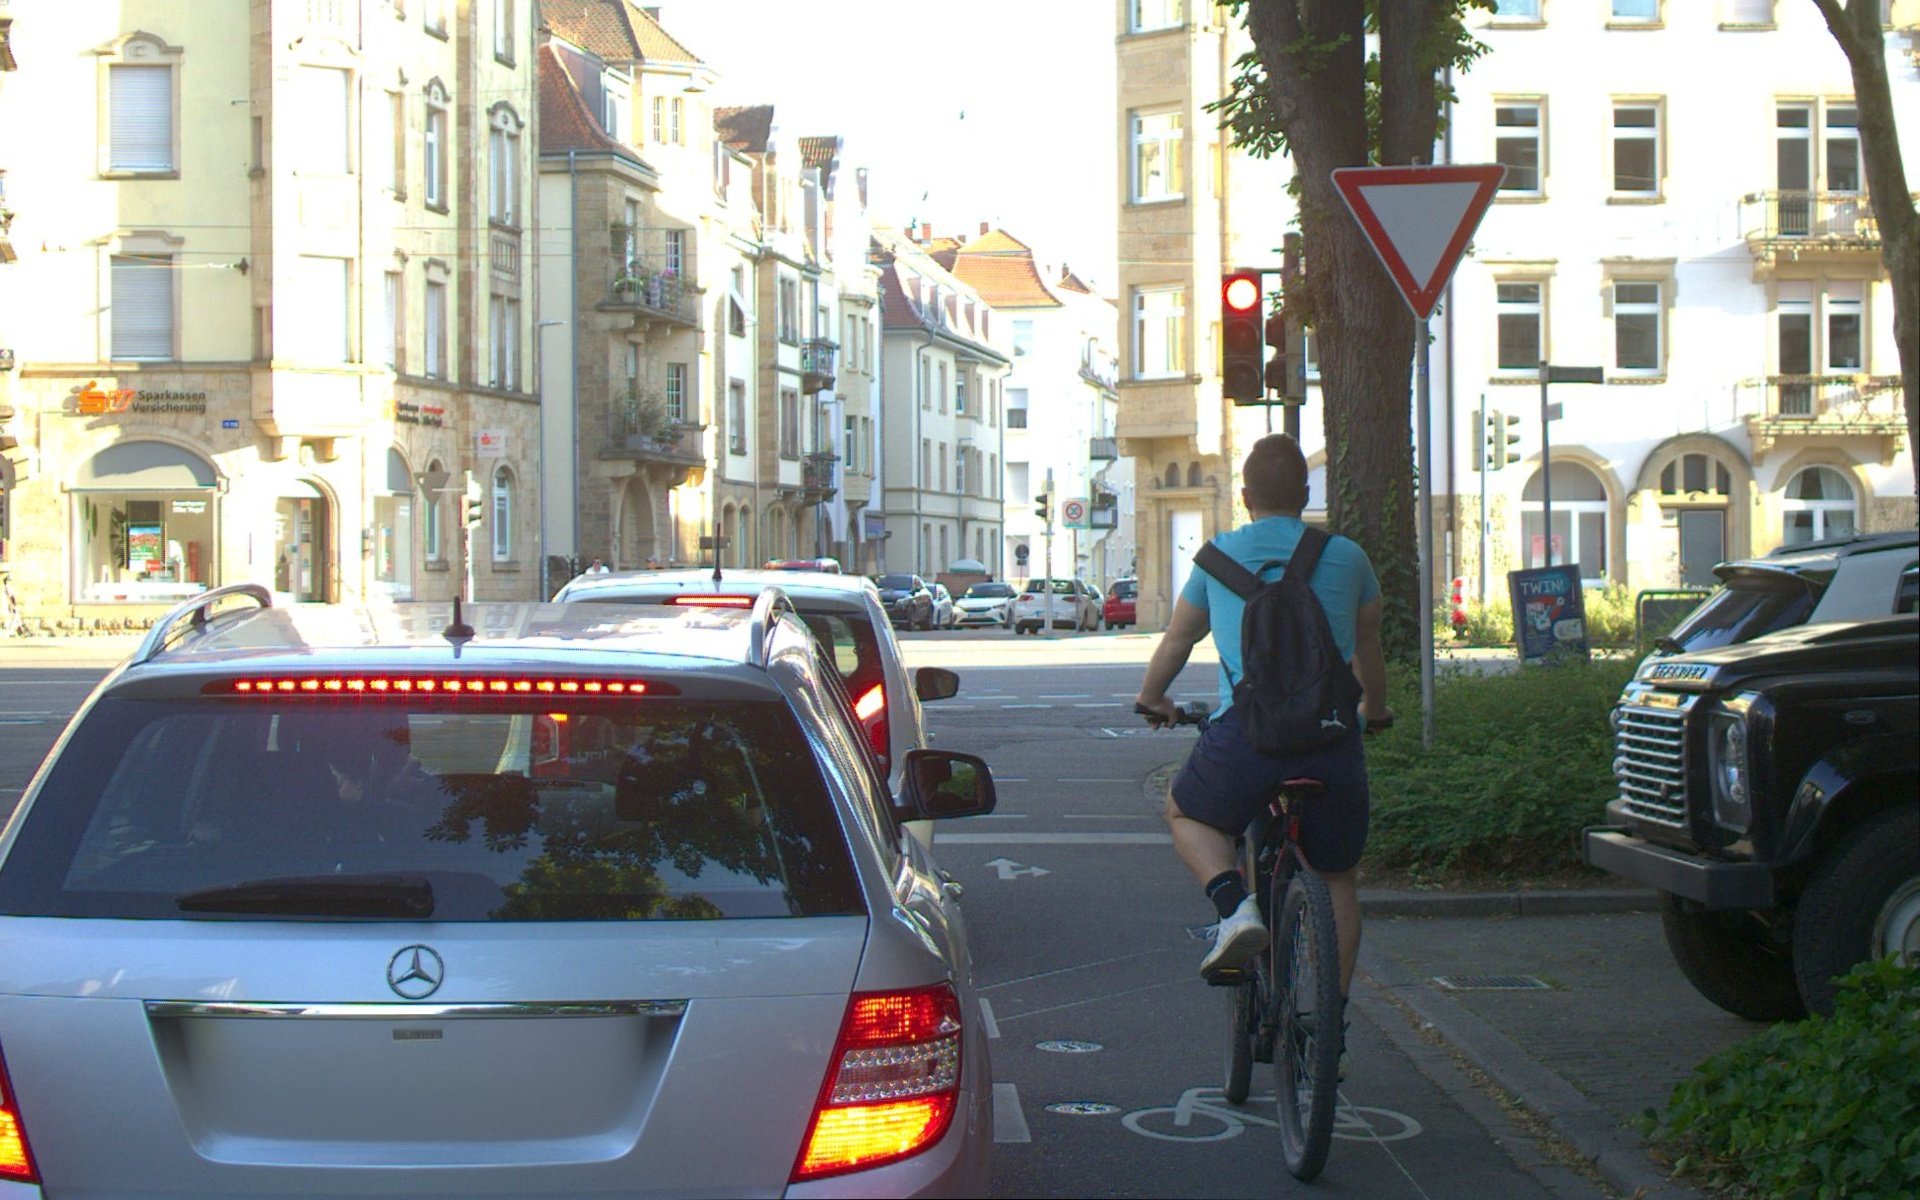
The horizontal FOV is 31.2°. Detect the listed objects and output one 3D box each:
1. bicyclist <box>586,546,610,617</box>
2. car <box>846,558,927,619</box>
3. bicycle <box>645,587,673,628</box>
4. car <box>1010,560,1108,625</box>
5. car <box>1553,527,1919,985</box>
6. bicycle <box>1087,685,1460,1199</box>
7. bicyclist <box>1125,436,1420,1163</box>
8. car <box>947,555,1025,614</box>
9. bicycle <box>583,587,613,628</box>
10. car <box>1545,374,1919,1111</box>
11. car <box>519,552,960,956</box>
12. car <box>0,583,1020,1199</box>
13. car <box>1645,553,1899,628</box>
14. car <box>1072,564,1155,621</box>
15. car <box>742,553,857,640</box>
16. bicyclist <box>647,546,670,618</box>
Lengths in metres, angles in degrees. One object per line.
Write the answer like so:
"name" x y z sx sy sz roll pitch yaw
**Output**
"bicyclist" -7.716 -0.393 73.291 0.466 1.509 0.655 0 1 -4
"car" -2.160 -0.317 102.437 1.651 1.777 3.861 0 0 11
"bicycle" -6.411 0.159 73.229 0.568 0.832 1.566 0 1 -4
"car" 2.495 -0.211 85.896 1.722 1.473 3.998 -2 1 12
"car" 4.215 0.502 13.092 3.480 1.580 1.711 -2 1 -6
"bicycle" 0.755 0.826 8.876 0.742 1.114 2.013 1 1 -1
"bicyclist" 0.783 0.483 8.813 0.646 1.769 0.831 1 0 -1
"car" 0.798 -0.489 103.869 1.687 1.716 3.998 0 1 10
"bicycle" -7.699 0.160 73.224 0.568 0.832 1.566 0 1 -4
"car" 4.188 0.292 10.185 4.490 1.949 1.793 -2 1 -3
"car" -0.837 0.516 13.812 1.533 1.386 3.600 0 1 -2
"car" -0.867 0.712 6.488 1.690 1.424 3.493 1 1 -3
"car" 11.832 -0.145 50.200 3.364 1.065 1.380 0 1 -1
"car" 4.577 -0.245 102.078 1.722 1.473 3.998 -4 1 12
"car" -3.697 -0.109 79.763 1.938 1.952 4.149 0 1 8
"bicyclist" -6.435 -0.391 73.279 0.466 1.516 0.694 0 1 -4
